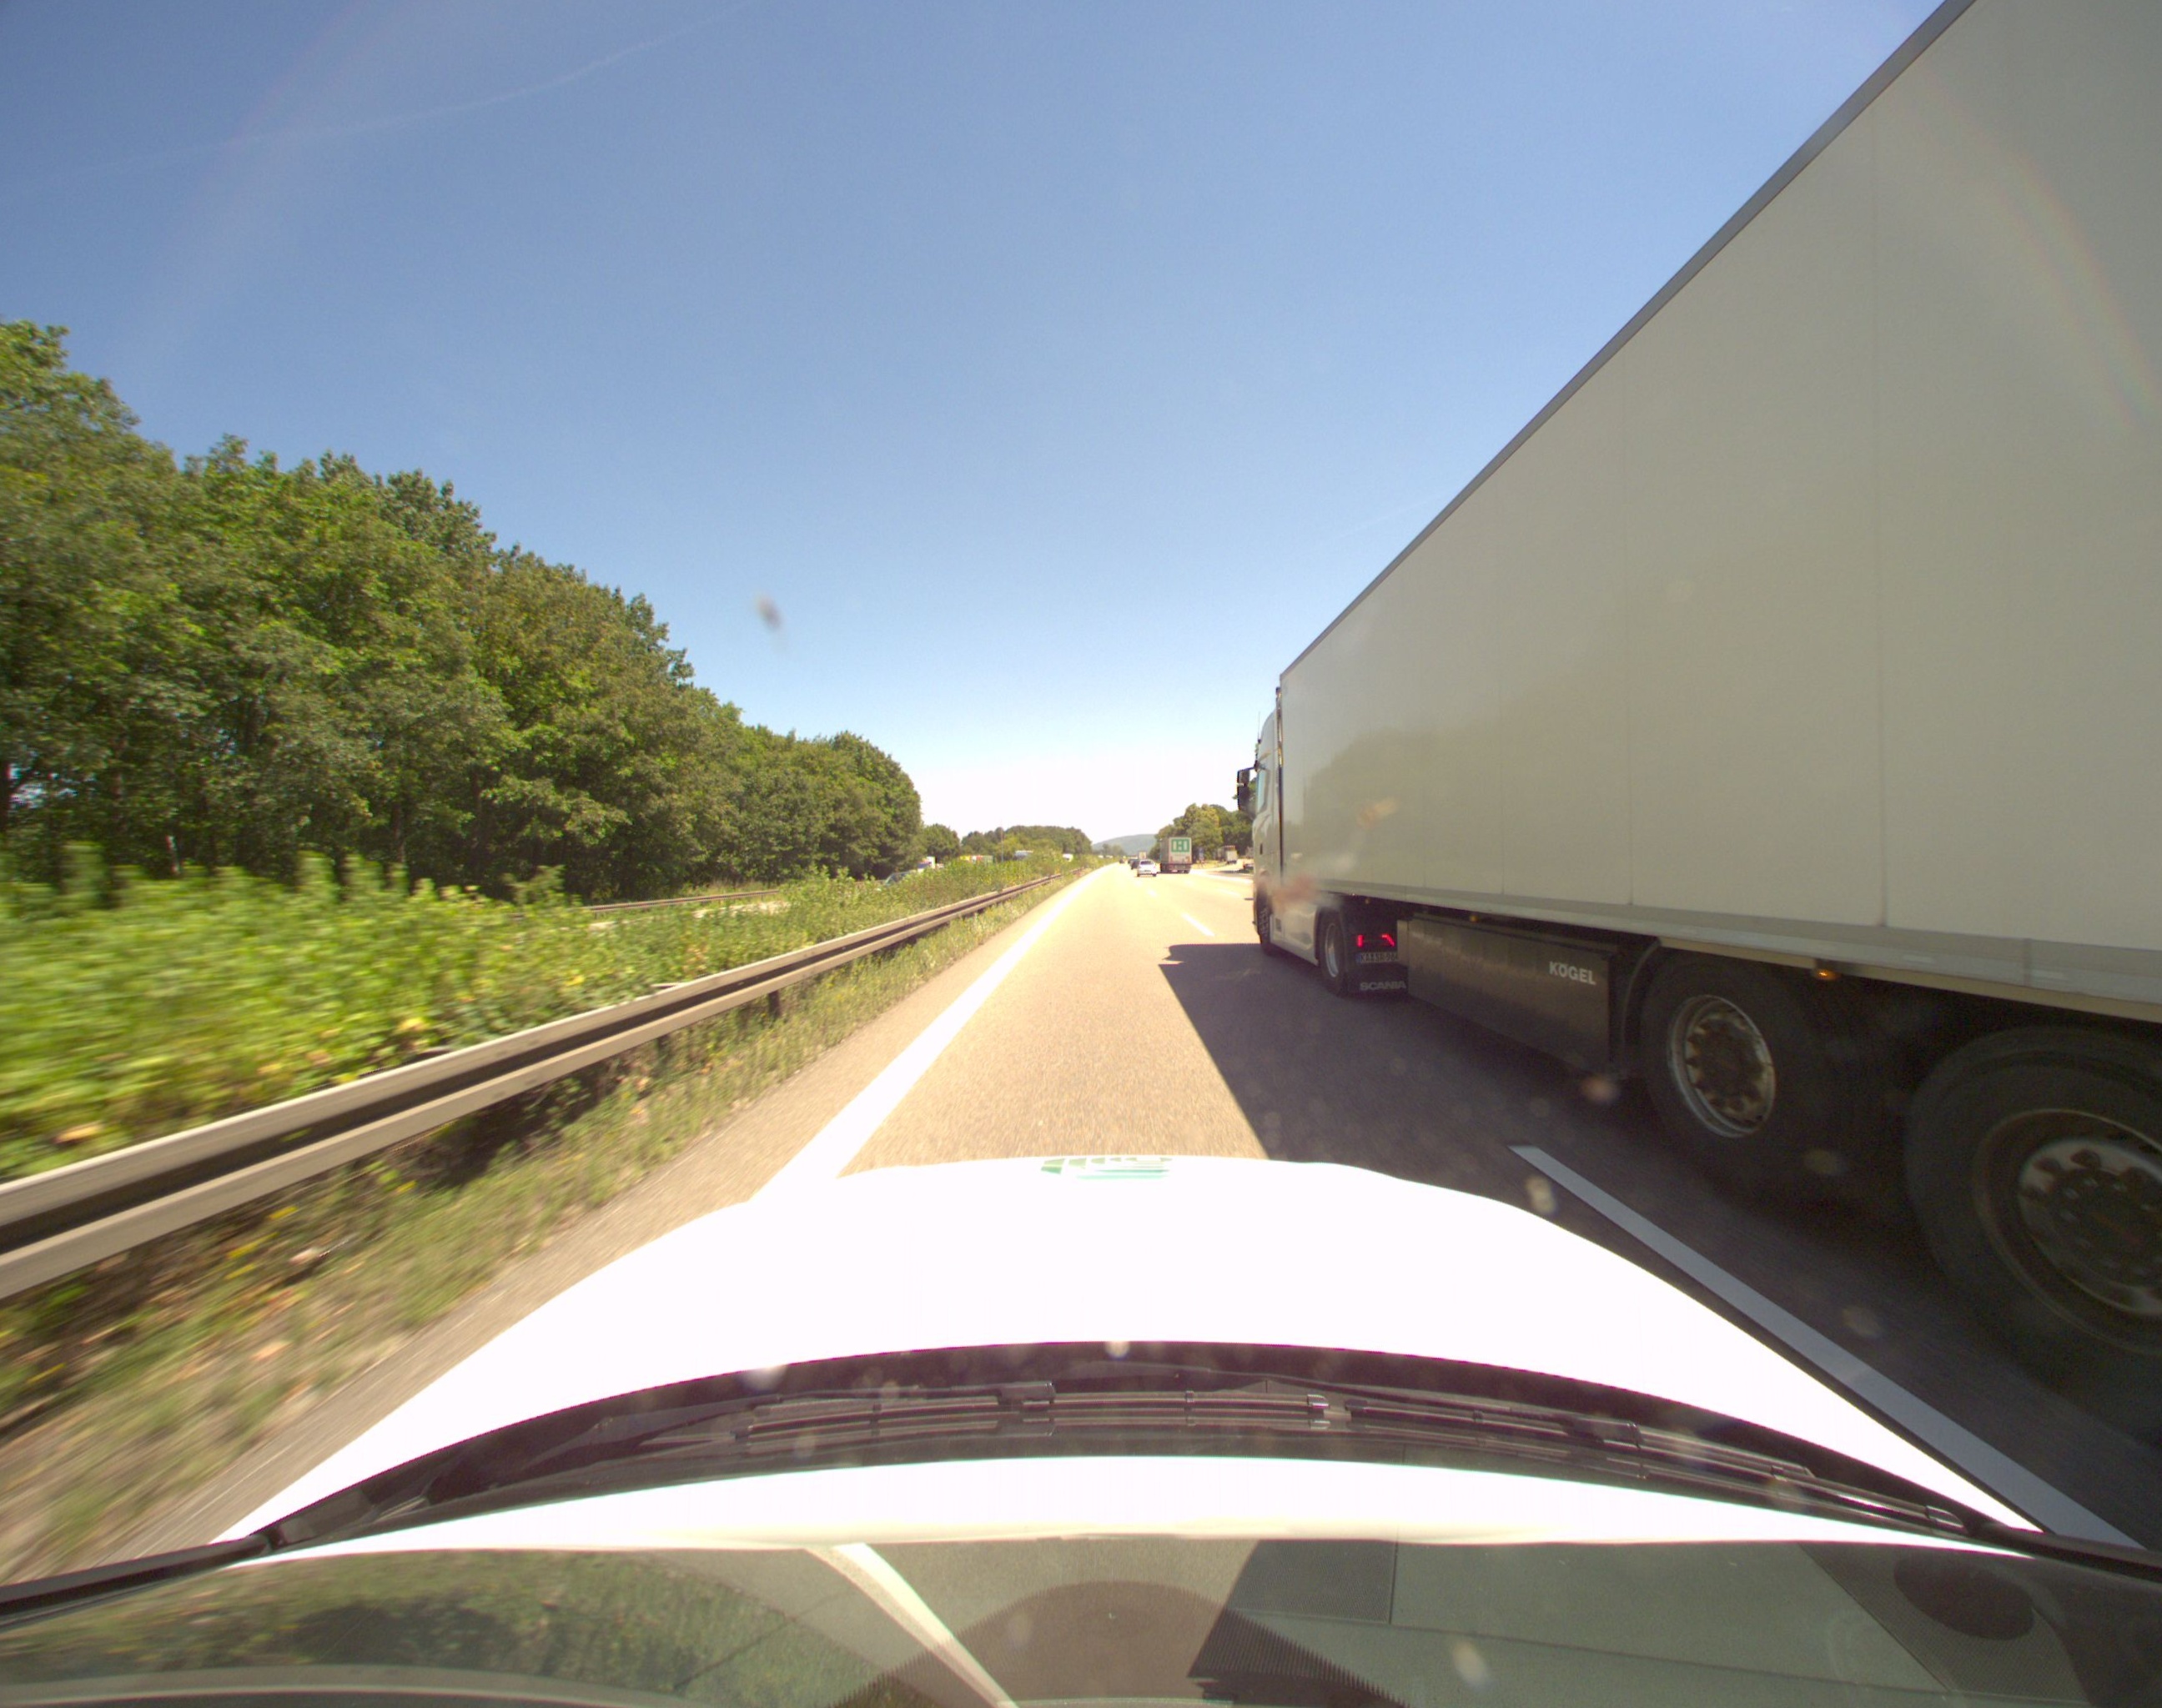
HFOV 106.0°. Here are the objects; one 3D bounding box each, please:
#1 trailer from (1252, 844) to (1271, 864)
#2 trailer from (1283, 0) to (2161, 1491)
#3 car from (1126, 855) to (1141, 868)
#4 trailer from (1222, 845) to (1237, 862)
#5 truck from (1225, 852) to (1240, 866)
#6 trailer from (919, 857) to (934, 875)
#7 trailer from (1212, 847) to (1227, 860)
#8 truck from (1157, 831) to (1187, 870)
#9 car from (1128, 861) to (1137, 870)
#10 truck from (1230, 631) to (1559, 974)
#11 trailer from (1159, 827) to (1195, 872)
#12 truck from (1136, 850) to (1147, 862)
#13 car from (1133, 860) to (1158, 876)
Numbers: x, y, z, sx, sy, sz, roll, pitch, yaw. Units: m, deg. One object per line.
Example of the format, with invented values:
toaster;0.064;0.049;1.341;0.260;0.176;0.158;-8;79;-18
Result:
trailer;36.760;-0.003;165.572;2.957;3.878;12.940;-2;-1;15
trailer;4.078;-0.654;4.212;3.212;4.143;12.355;-1;0;1
car;7.763;1.142;120.361;1.887;1.892;4.007;-2;-1;6
trailer;35.748;0.024;195.815;3.163;3.935;11.588;-1;-1;12
truck;33.041;1.053;178.000;2.456;2.946;7.671;-1;-1;6
trailer;-37.136;2.860;196.295;2.608;3.971;12.571;-2;-1;-7
trailer;42.963;-0.046;252.941;3.121;3.952;14.212;-2;-1;4
truck;11.131;-0.365;99.933;3.169;4.607;5.952;-1;-1;3
car;11.979;2.596;189.592;1.875;2.014;4.001;-2;0;1
truck;4.287;-0.630;12.343;3.217;4.158;4.561;-1;0;1
trailer;10.616;-0.435;91.125;3.168;4.627;12.059;-1;-1;3
truck;19.535;0.552;262.750;3.310;3.757;12.809;0;0;4
car;5.840;1.243;74.004;1.807;1.405;3.313;-1;0;-3
